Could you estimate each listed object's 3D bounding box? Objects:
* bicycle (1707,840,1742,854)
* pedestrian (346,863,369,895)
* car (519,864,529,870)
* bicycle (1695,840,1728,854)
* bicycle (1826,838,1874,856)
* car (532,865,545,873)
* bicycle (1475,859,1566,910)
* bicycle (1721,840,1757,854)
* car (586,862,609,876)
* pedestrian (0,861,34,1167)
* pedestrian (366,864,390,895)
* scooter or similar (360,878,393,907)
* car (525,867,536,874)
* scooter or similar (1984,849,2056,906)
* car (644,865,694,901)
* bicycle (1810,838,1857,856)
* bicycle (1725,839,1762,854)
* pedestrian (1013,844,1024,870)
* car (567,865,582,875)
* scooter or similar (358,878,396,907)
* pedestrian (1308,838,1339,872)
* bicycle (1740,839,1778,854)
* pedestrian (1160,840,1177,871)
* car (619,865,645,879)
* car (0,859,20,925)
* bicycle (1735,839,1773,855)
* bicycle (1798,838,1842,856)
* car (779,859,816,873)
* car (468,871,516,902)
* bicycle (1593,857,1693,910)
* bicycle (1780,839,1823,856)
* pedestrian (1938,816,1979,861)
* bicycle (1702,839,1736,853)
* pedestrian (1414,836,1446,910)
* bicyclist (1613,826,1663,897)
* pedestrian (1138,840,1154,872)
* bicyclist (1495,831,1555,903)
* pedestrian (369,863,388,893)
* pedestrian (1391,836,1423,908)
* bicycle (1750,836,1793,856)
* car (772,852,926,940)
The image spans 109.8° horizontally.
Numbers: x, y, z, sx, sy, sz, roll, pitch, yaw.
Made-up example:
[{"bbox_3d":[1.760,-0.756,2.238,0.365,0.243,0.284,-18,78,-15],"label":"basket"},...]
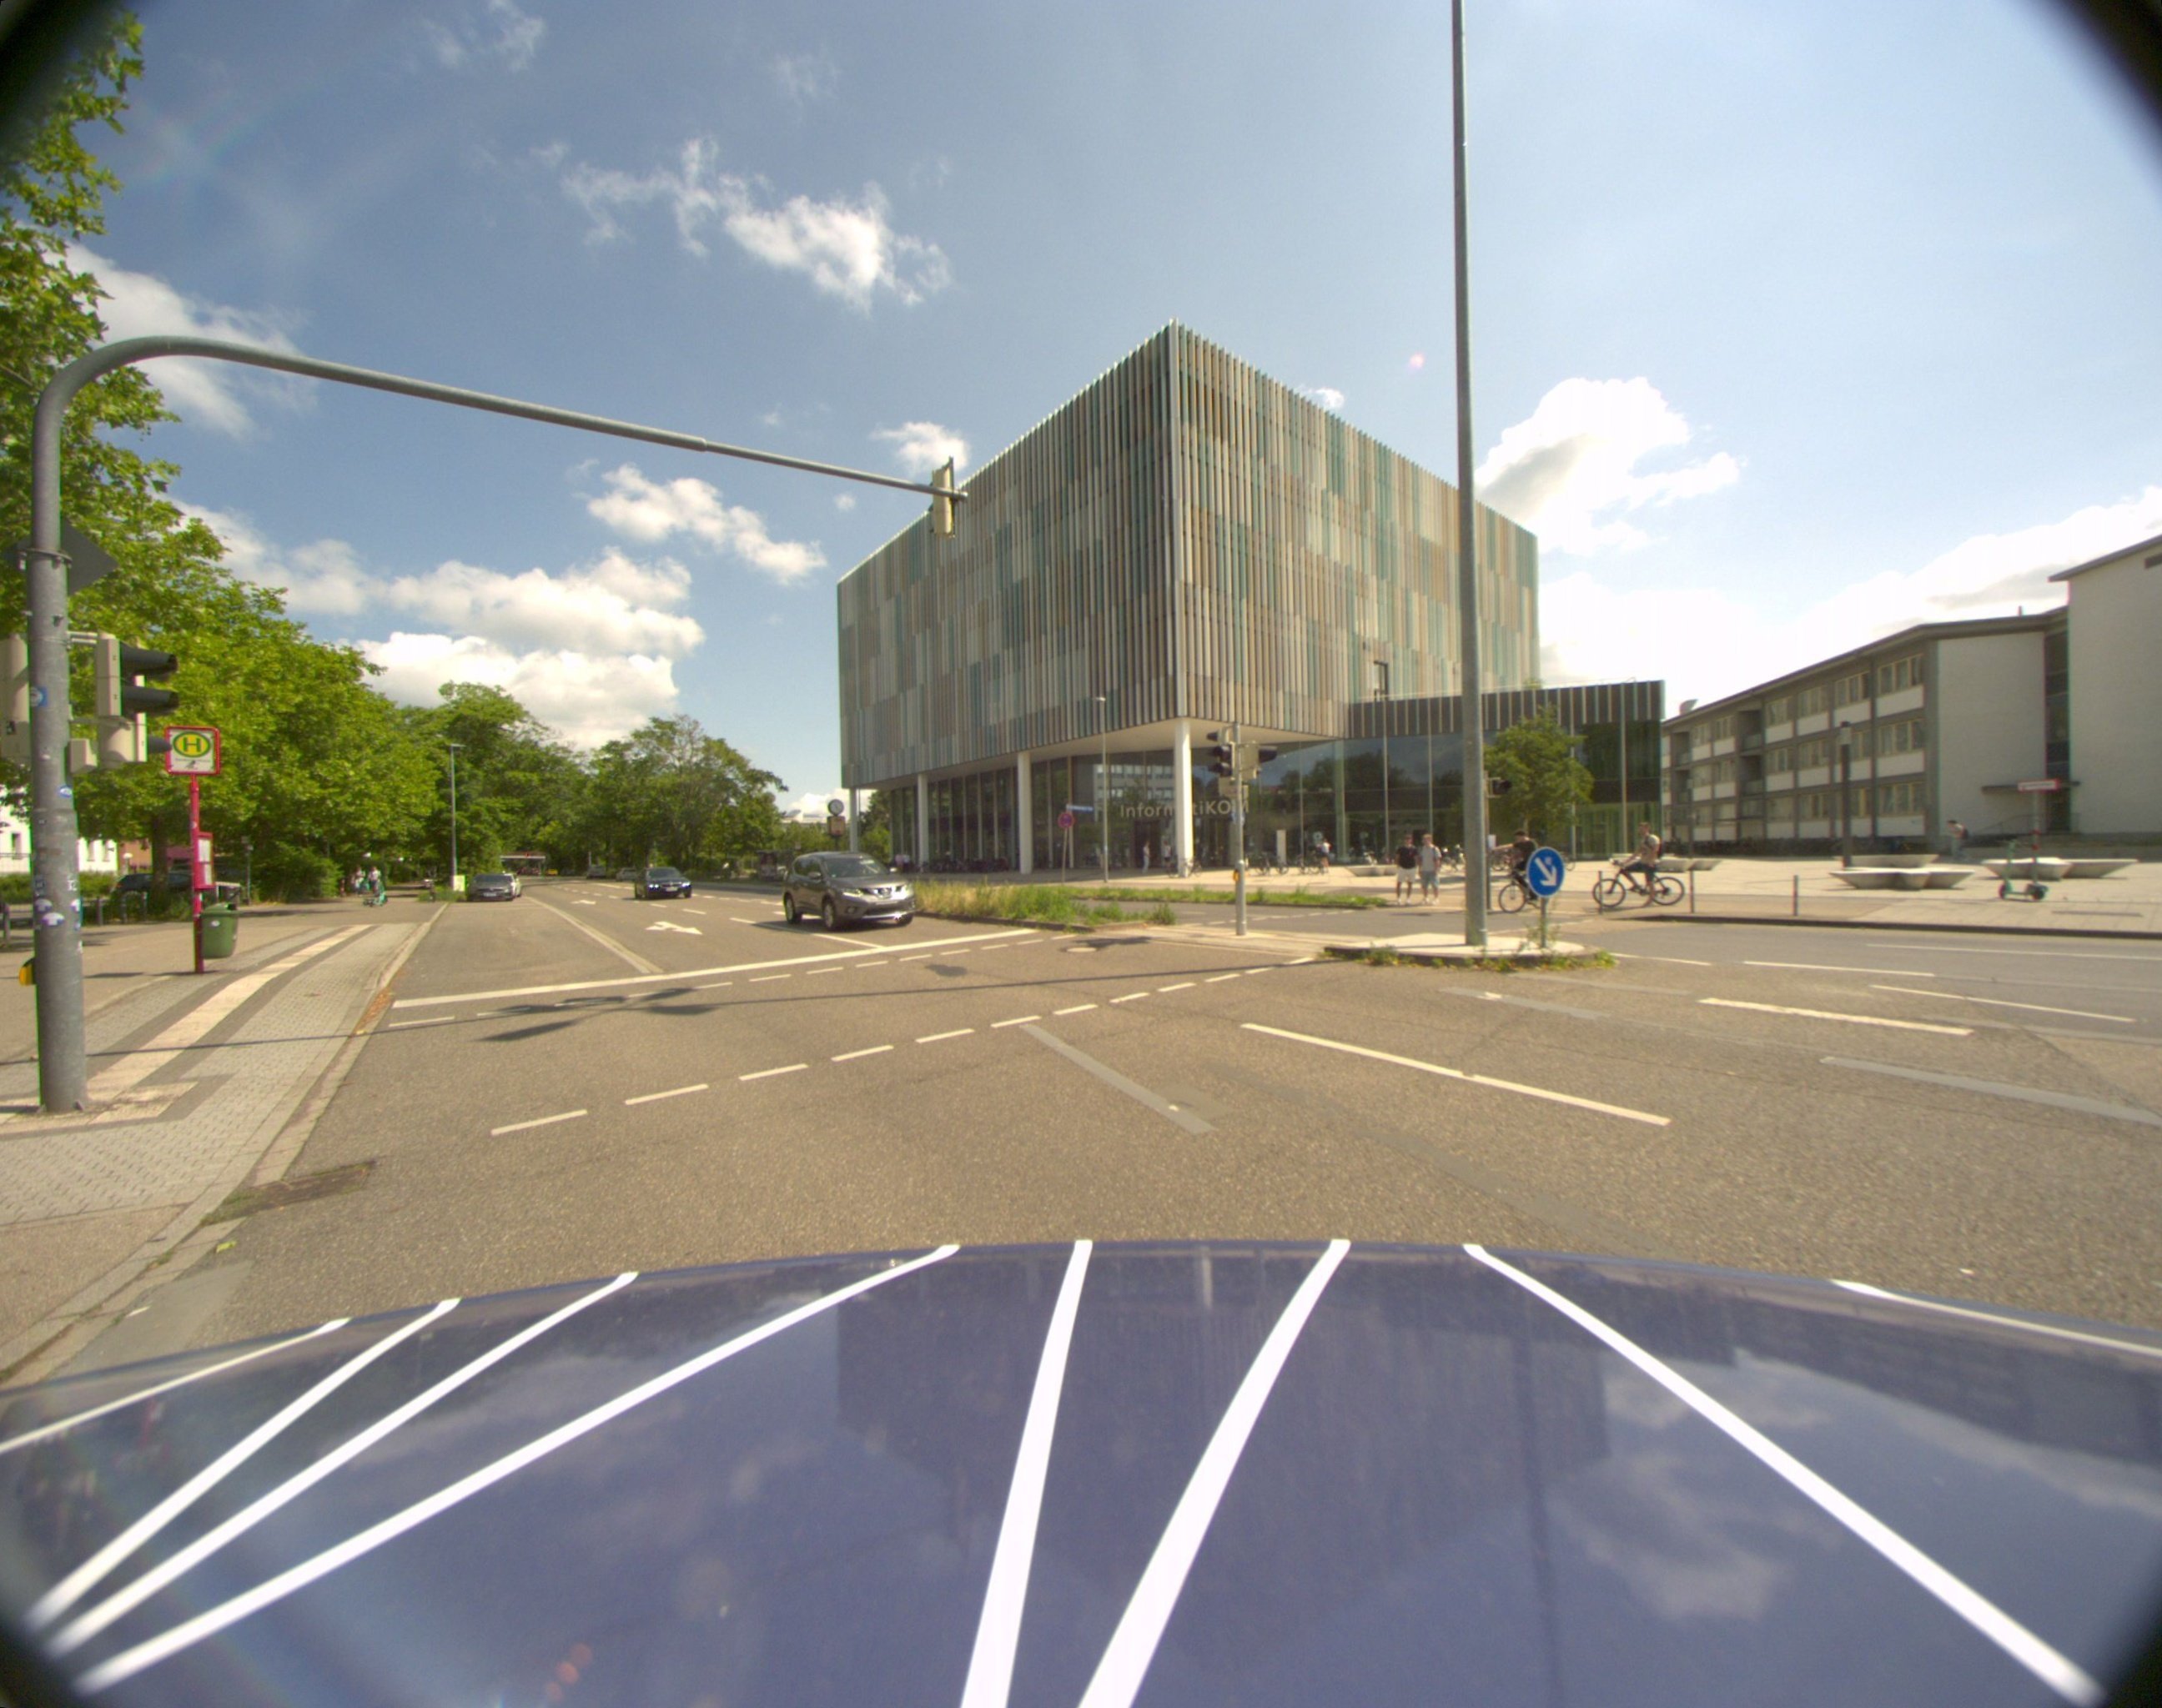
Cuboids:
[{"bbox_3d":[45.193,-0.482,53.395,1.769,0.950,0.530,-1,3,23],"label":"bicycle"},{"bbox_3d":[-41.720,1.443,43.825,0.789,1.771,0.685,-1,2,30],"label":"pedestrian"},{"bbox_3d":[-148.846,3.553,202.992,1.903,1.502,3.818,-4,2,-33],"label":"car"},{"bbox_3d":[45.823,-0.491,55.220,1.769,0.950,0.530,-1,3,23],"label":"bicycle"},{"bbox_3d":[41.855,-0.381,41.387,1.769,0.950,0.530,-1,3,23],"label":"bicycle"},{"bbox_3d":[-113.347,3.170,158.688,1.903,1.502,3.818,-4,2,-33],"label":"car"},{"bbox_3d":[10.139,0.693,17.586,1.669,1.118,0.695,-2,1,7],"label":"bicycle"},{"bbox_3d":[44.706,-0.480,51.621,1.769,0.950,0.530,-1,3,23],"label":"bicycle"},{"bbox_3d":[-64.476,2.004,101.268,1.907,1.801,4.719,-2,0,-40],"label":"car"},{"bbox_3d":[-6.639,0.933,4.296,0.595,1.790,0.611,0,-1,5],"label":"pedestrian"},{"bbox_3d":[-41.039,1.500,44.363,0.789,1.771,0.685,-1,2,28],"label":"pedestrian"},{"bbox_3d":[-29.147,1.561,31.450,0.530,1.162,1.572,0,-1,-25],"label":"scooter or similar"},{"bbox_3d":[-125.892,3.729,173.766,1.903,1.502,3.818,-4,2,-33],"label":"car"},{"bbox_3d":[18.473,0.441,14.970,0.402,1.060,1.153,-1,1,24],"label":"scooter or similar"},{"bbox_3d":[-18.888,1.267,34.782,1.833,1.408,4.181,-3,1,-30],"label":"car"},{"bbox_3d":[42.230,-0.391,42.662,1.769,0.950,0.530,-1,3,23],"label":"bicycle"},{"bbox_3d":[44.460,-0.490,51.008,1.769,0.950,0.530,-1,3,23],"label":"bicycle"},{"bbox_3d":[-4.554,0.211,55.455,0.553,1.831,0.563,-1,2,44],"label":"pedestrian"},{"bbox_3d":[-86.669,2.756,130.058,1.903,1.502,3.818,-4,2,-33],"label":"car"},{"bbox_3d":[-30.708,1.664,33.170,0.530,1.239,1.289,0,-1,-4],"label":"scooter or similar"},{"bbox_3d":[12.257,0.051,38.404,1.185,1.641,1.012,-2,1,-38],"label":"pedestrian"},{"bbox_3d":[43.506,-0.483,48.773,1.769,0.950,0.530,-1,3,23],"label":"bicycle"},{"bbox_3d":[5.125,0.085,44.494,0.692,1.831,0.676,-3,2,-31],"label":"pedestrian"},{"bbox_3d":[-46.640,1.860,78.935,2.003,1.412,3.990,-2,1,-35],"label":"car"},{"bbox_3d":[-30.700,1.097,20.107,1.907,1.854,4.928,-3,1,-41],"label":"car"},{"bbox_3d":[43.916,-0.448,49.574,1.769,0.950,0.530,-1,3,23],"label":"bicycle"},{"bbox_3d":[42.518,-0.395,43.728,1.769,0.950,0.530,-1,3,23],"label":"bicycle"},{"bbox_3d":[-34.500,1.447,92.494,3.834,1.502,1.895,-4,2,-33],"label":"car"},{"bbox_3d":[-30.277,1.625,39.030,1.866,1.469,4.929,0,-2,-38],"label":"car"},{"bbox_3d":[12.356,0.649,16.761,1.667,1.118,0.696,-1,1,27],"label":"bicycle"},{"bbox_3d":[42.594,-0.406,44.964,1.769,0.950,0.530,-1,3,23],"label":"bicycle"},{"bbox_3d":[35.742,-0.616,30.955,0.841,1.779,0.678,-1,1,22],"label":"pedestrian"},{"bbox_3d":[45.381,-0.563,54.028,1.769,0.950,0.530,-1,3,23],"label":"bicycle"},{"bbox_3d":[8.925,0.480,19.430,0.416,1.831,0.574,-4,2,-43],"label":"pedestrian"},{"bbox_3d":[12.286,0.168,16.783,0.784,1.529,0.658,-1,1,27],"label":"bicyclist"},{"bbox_3d":[3.794,0.117,44.364,0.788,1.831,0.517,-2,2,-4],"label":"pedestrian"},{"bbox_3d":[10.243,0.286,17.564,0.998,1.606,0.657,-2,1,7],"label":"bicyclist"},{"bbox_3d":[-42.601,1.466,46.084,0.789,1.771,0.685,-1,3,44],"label":"pedestrian"},{"bbox_3d":[8.424,0.453,19.643,0.631,1.831,0.481,-1,2,37],"label":"pedestrian"},{"bbox_3d":[43.161,-0.478,47.504,1.770,0.949,0.530,-10,-1,23],"label":"bicycle"},{"bbox_3d":[-5.437,0.860,17.414,1.828,1.669,4.466,-3,1,-38],"label":"car"}]
